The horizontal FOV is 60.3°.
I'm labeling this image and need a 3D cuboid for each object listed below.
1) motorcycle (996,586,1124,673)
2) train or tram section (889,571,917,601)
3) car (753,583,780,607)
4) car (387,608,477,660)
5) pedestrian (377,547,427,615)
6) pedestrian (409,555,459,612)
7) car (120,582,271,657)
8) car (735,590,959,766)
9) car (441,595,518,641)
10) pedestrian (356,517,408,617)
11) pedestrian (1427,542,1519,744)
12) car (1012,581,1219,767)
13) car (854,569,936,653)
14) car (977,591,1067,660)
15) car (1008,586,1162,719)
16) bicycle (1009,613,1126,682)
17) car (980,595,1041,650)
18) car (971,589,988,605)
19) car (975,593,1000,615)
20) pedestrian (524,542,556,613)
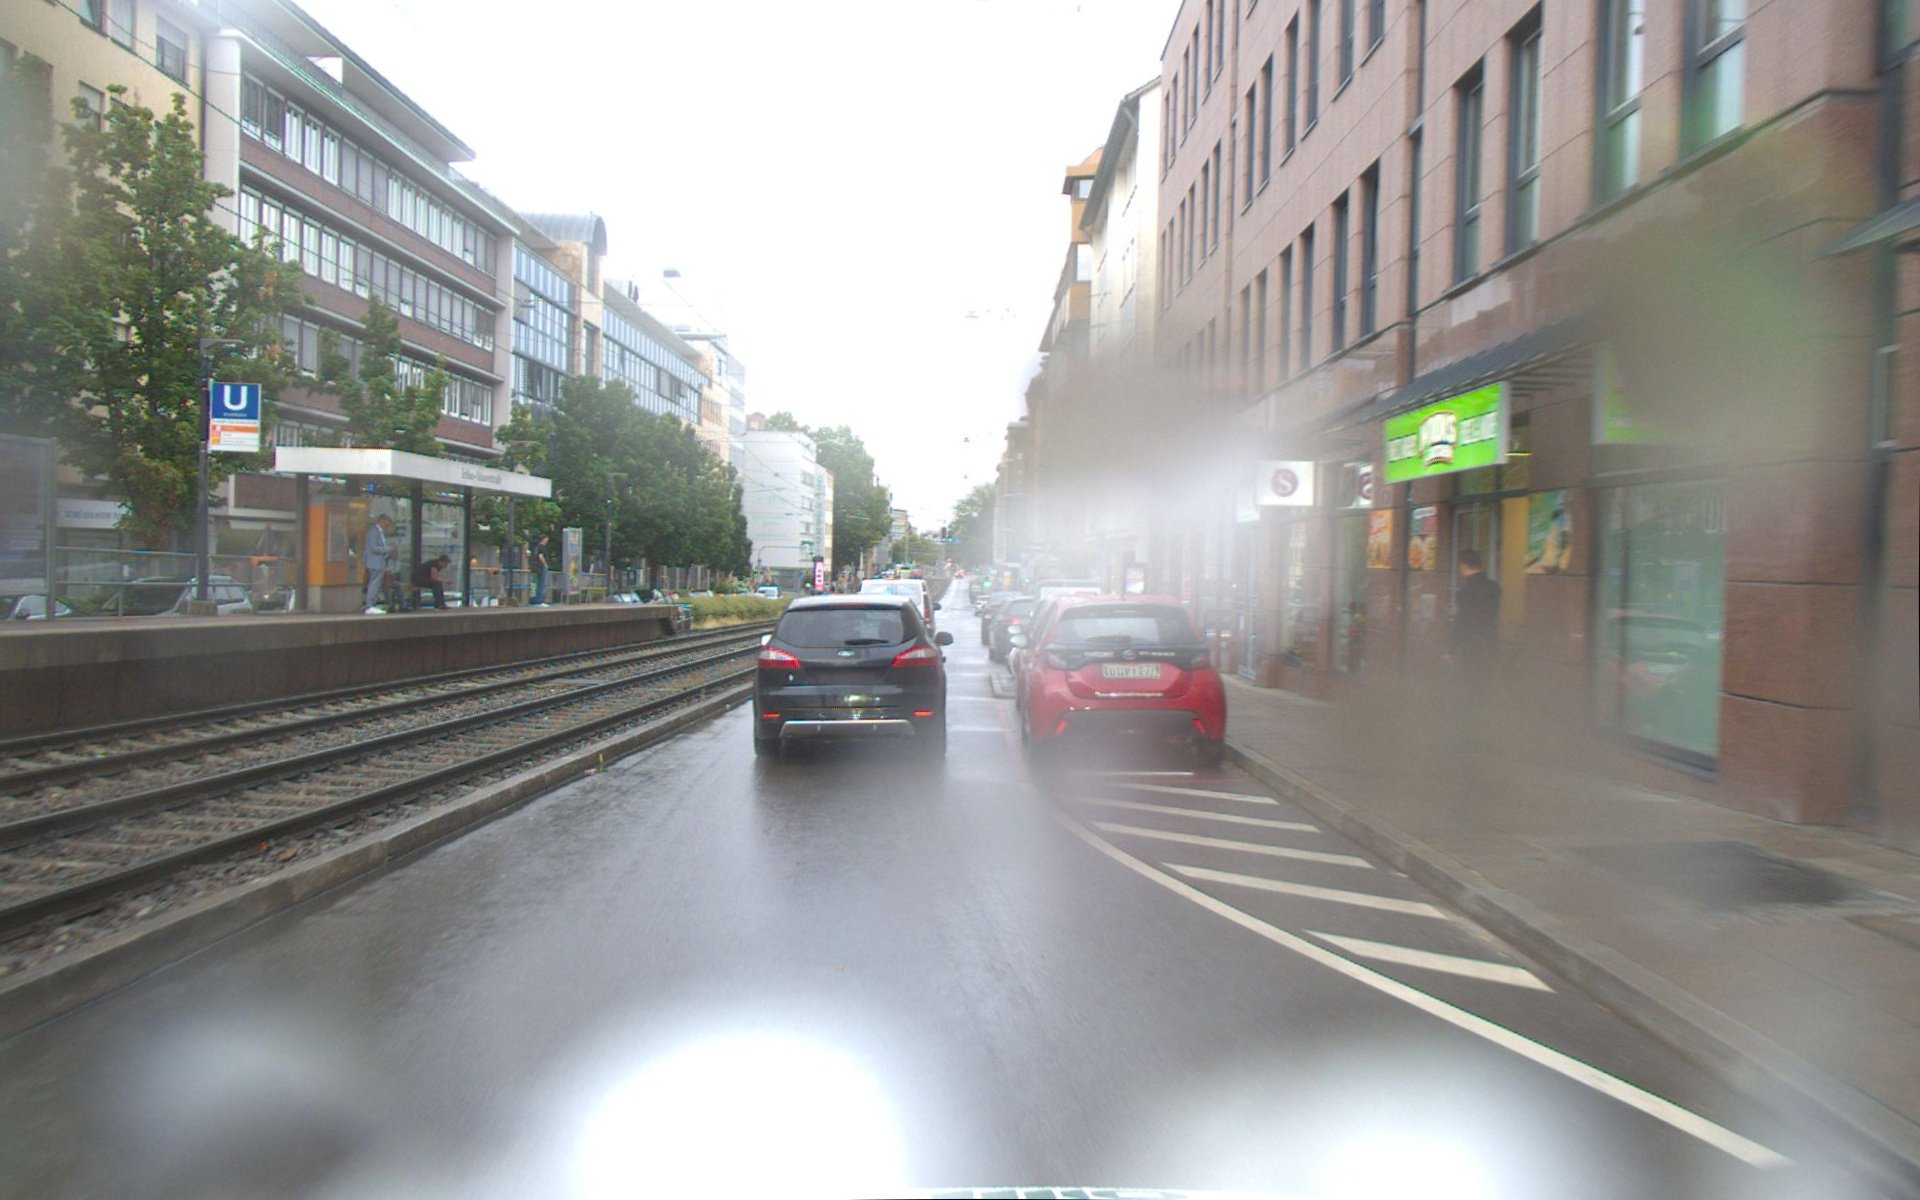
[{"bbox_3d":[1.698,0.495,28.170,2.040,1.432,0.799,0,-1,19],"label":"motorcycle"},{"bbox_3d":[-7.418,-1.770,214.732,3.442,3.843,11.326,0,0,-2],"label":"train or tram section"},{"bbox_3d":[-15.703,-0.396,134.206,1.868,1.897,4.571,1,0,-3],"label":"car"},{"bbox_3d":[-15.879,0.991,49.946,1.537,1.461,4.236,0,0,-3],"label":"car"},{"bbox_3d":[-10.720,-0.360,31.787,0.679,1.271,0.884,0,0,-2],"label":"pedestrian"},{"bbox_3d":[-10.837,-0.340,34.113,0.876,1.143,0.848,0,0,-11],"label":"pedestrian"},{"bbox_3d":[-15.747,0.372,34.241,1.537,1.461,3.734,0,0,-3],"label":"car"},{"bbox_3d":[-0.971,0.679,15.900,1.867,1.488,3.445,0,0,1],"label":"car"},{"bbox_3d":[-16.027,0.576,55.315,1.537,1.461,4.175,0,0,-3],"label":"car"},{"bbox_3d":[-10.297,-0.581,29.472,0.642,1.741,0.850,0,0,-2],"label":"pedestrian"},{"bbox_3d":[4.373,0.363,14.130,0.589,1.688,0.625,0,-1,0],"label":"pedestrian"},{"bbox_3d":[1.352,0.626,15.693,1.663,1.505,3.868,-2,0,2],"label":"car"},{"bbox_3d":[-1.517,0.270,40.038,1.868,1.897,4.573,1,0,-1],"label":"car"},{"bbox_3d":[1.371,0.542,38.261,1.738,1.494,4.607,0,0,-2],"label":"car"},{"bbox_3d":[1.498,0.615,20.987,1.664,1.488,3.867,-2,0,1],"label":"car"},{"bbox_3d":[1.640,0.719,25.280,1.750,1.049,0.462,0,-1,-1],"label":"bicycle"},{"bbox_3d":[1.573,0.692,52.933,1.770,1.660,5.169,0,0,0],"label":"car"},{"bbox_3d":[2.170,-0.326,186.449,1.867,1.662,4.574,0,0,1],"label":"car"},{"bbox_3d":[2.089,0.301,124.321,1.867,1.662,4.574,0,0,1],"label":"car"},{"bbox_3d":[-10.891,-0.584,42.904,0.642,1.833,0.850,0,0,-2],"label":"pedestrian"}]
